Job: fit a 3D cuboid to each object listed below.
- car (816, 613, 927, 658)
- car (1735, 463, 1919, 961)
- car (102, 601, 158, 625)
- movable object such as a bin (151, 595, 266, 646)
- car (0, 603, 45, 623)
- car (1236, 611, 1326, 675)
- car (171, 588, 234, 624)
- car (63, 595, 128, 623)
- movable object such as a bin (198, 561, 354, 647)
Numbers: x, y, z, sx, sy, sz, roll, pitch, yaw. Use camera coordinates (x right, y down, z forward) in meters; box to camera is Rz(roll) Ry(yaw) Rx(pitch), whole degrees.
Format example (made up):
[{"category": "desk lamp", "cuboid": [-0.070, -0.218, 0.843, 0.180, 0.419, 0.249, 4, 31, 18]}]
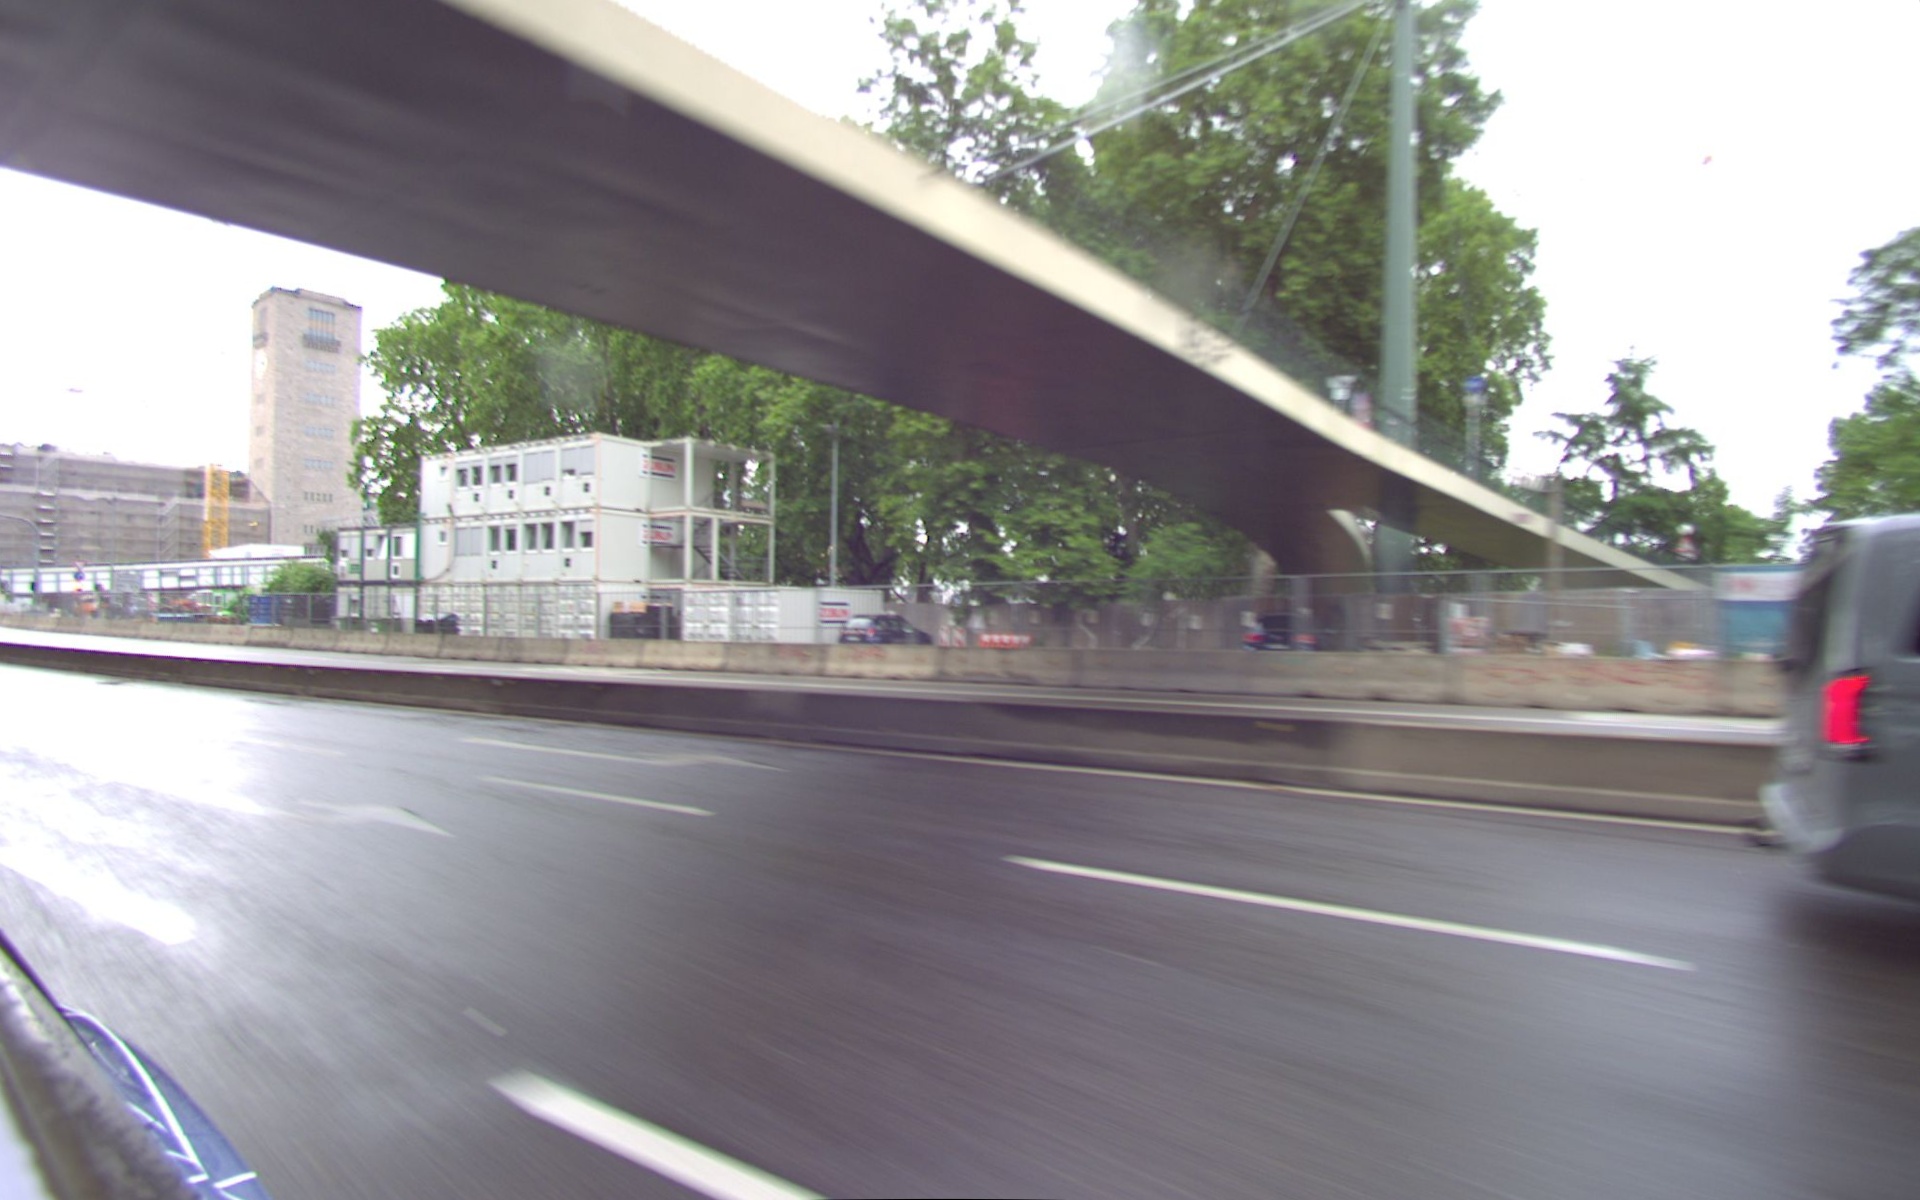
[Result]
[{"category": "car", "cuboid": [-3.096, 1.265, 36.124, 1.993, 1.454, 3.956, 0, -2, 32]}, {"category": "car", "cuboid": [5.998, 0.405, 3.330, 5.345, 1.870, 1.977, -1, 0, 35]}, {"category": "car", "cuboid": [-64.947, 0.979, 79.166, 4.780, 1.775, 1.832, 1, -2, 31]}, {"category": "movable object such as a bin", "cuboid": [-49.164, 1.321, 66.222, 6.365, 3.152, 3.903, 1, -2, 31]}, {"category": "car", "cuboid": [-101.429, 1.409, 108.343, 4.949, 2.029, 2.002, 1, -2, -5]}, {"category": "car", "cuboid": [9.123, 1.177, 28.544, 1.947, 1.640, 4.401, 0, -2, 24]}, {"category": "car", "cuboid": [-68.079, 0.542, 90.938, 6.144, 3.089, 2.258, 1, -2, 30]}, {"category": "car", "cuboid": [-70.100, 0.750, 82.059, 5.556, 2.117, 1.981, 1, -3, 28]}, {"category": "movable object such as a bin", "cuboid": [-41.528, 0.257, 61.469, 8.330, 4.839, 4.715, 0, -2, 31]}]
